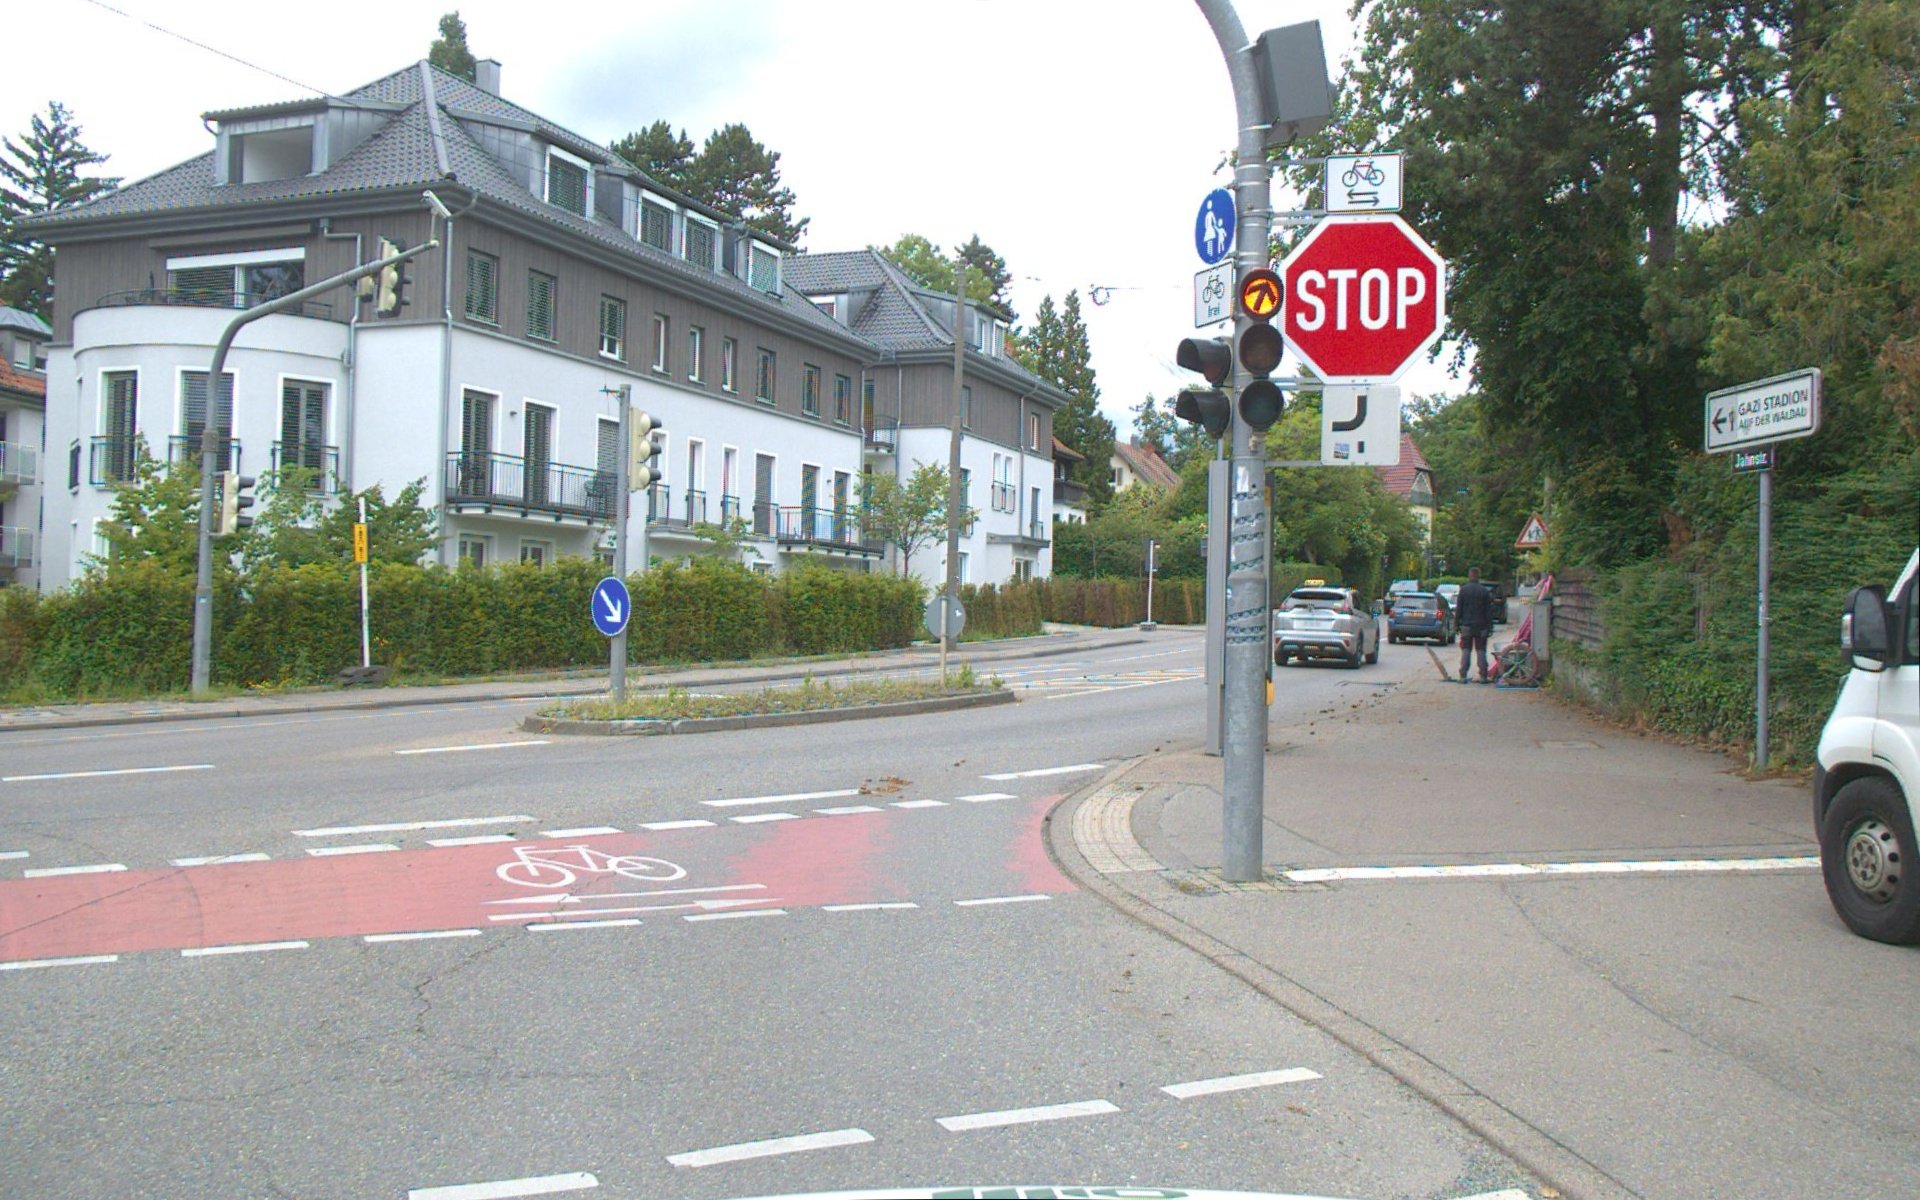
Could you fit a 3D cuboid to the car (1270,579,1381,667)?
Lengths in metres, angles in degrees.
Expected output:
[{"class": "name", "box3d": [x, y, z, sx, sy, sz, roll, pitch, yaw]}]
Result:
[{"class": "car", "box3d": [7.944, 0.456, 35.664, 1.770, 1.784, 4.488, -1, 0, 20]}]

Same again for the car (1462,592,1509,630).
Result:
[{"class": "car", "box3d": [20.712, 0.408, 65.103, 1.658, 1.455, 3.750, -1, 0, 19]}]

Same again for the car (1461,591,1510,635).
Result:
[{"class": "car", "box3d": [24.555, 0.574, 77.193, 1.879, 1.927, 4.909, 2, 1, 20]}]

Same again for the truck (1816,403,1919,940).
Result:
[{"class": "truck", "box3d": [5.125, 0.318, 5.017, 2.162, 2.283, 5.724, 1, 0, 1]}]

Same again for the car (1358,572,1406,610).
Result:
[{"class": "car", "box3d": [22.585, -0.459, 88.327, 1.873, 1.913, 5.142, -1, -1, 21]}]

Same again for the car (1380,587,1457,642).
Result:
[{"class": "car", "box3d": [13.817, 0.410, 49.688, 1.763, 1.553, 4.743, -1, 0, 21]}]

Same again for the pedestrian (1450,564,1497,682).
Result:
[{"class": "pedestrian", "box3d": [8.549, 0.379, 27.536, 0.584, 1.940, 0.558, 1, 0, 0]}]
